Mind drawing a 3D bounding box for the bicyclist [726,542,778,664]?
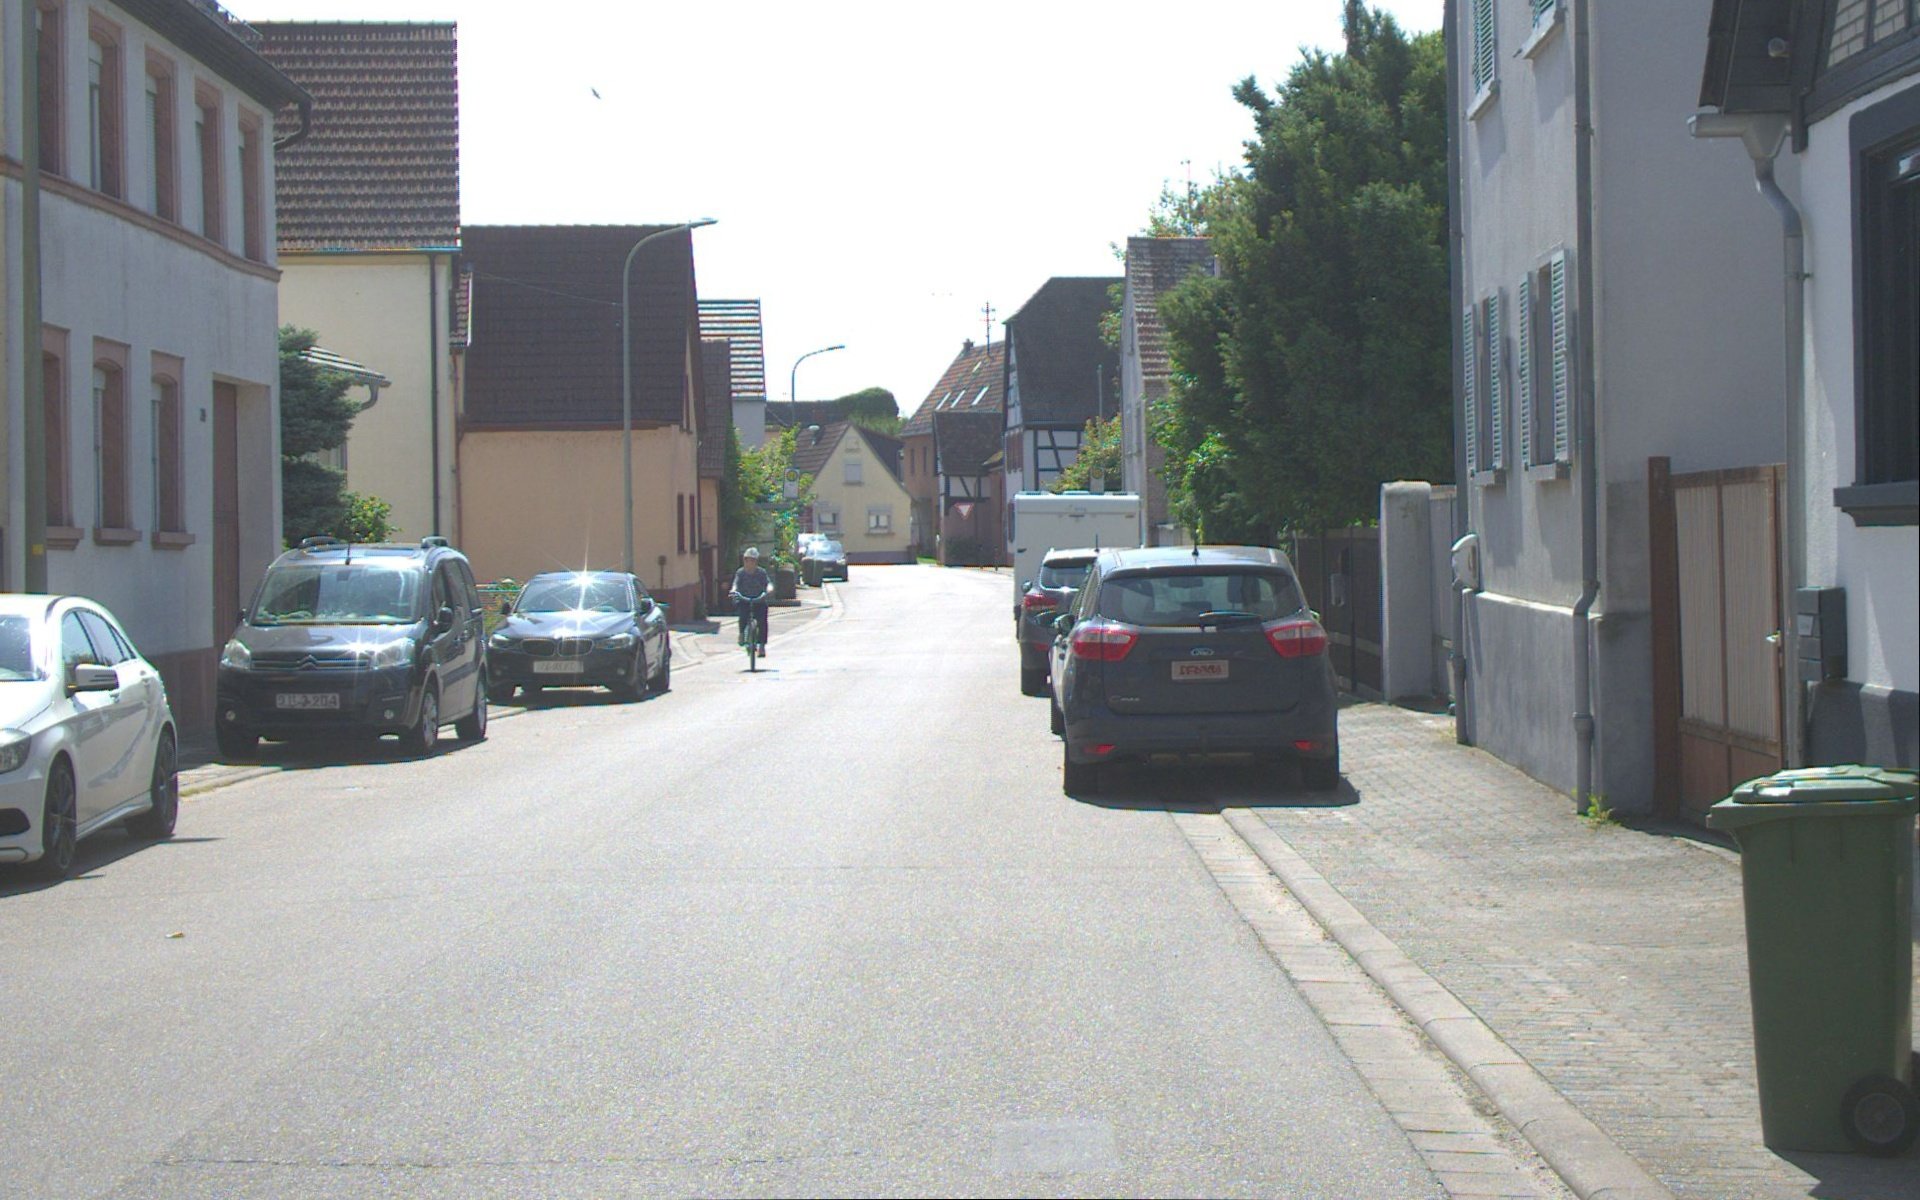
[{"bbox_3d":[-3.048,0.040,50.369,0.703,1.765,0.625,-1,1,-3],"label":"bicyclist"}]

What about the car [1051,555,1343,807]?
[{"bbox_3d":[1.546,0.481,23.866,1.797,1.555,4.631,-1,1,2],"label":"car"}]

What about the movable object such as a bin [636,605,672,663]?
[{"bbox_3d":[-5.037,0.564,56.688,0.539,0.946,0.553,0,1,1],"label":"movable object such as a bin"}]

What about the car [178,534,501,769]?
[{"bbox_3d":[-5.265,0.383,29.728,1.835,1.831,4.353,-2,1,2],"label":"car"}]

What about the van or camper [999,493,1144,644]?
[{"bbox_3d":[2.038,-0.590,64.202,2.521,2.687,4.555,-1,1,0],"label":"van or camper"}]

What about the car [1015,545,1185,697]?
[{"bbox_3d":[1.685,0.199,40.114,1.794,1.625,4.360,-1,1,4],"label":"car"}]

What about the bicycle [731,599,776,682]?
[{"bbox_3d":[-3.008,0.579,50.272,0.589,1.144,1.949,-2,1,-2],"label":"bicycle"}]

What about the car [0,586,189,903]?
[{"bbox_3d":[-5.450,0.699,18.337,1.834,1.459,4.271,-2,1,-2],"label":"car"}]

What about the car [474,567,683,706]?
[{"bbox_3d":[-4.556,0.395,41.708,1.844,1.521,4.765,-1,1,2],"label":"car"}]

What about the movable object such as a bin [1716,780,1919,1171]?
[{"bbox_3d":[2.212,0.927,8.658,0.538,0.910,0.551,-1,0,18],"label":"movable object such as a bin"}]

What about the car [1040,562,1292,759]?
[{"bbox_3d":[1.666,0.449,29.163,1.819,1.503,4.582,-1,1,0],"label":"car"}]
